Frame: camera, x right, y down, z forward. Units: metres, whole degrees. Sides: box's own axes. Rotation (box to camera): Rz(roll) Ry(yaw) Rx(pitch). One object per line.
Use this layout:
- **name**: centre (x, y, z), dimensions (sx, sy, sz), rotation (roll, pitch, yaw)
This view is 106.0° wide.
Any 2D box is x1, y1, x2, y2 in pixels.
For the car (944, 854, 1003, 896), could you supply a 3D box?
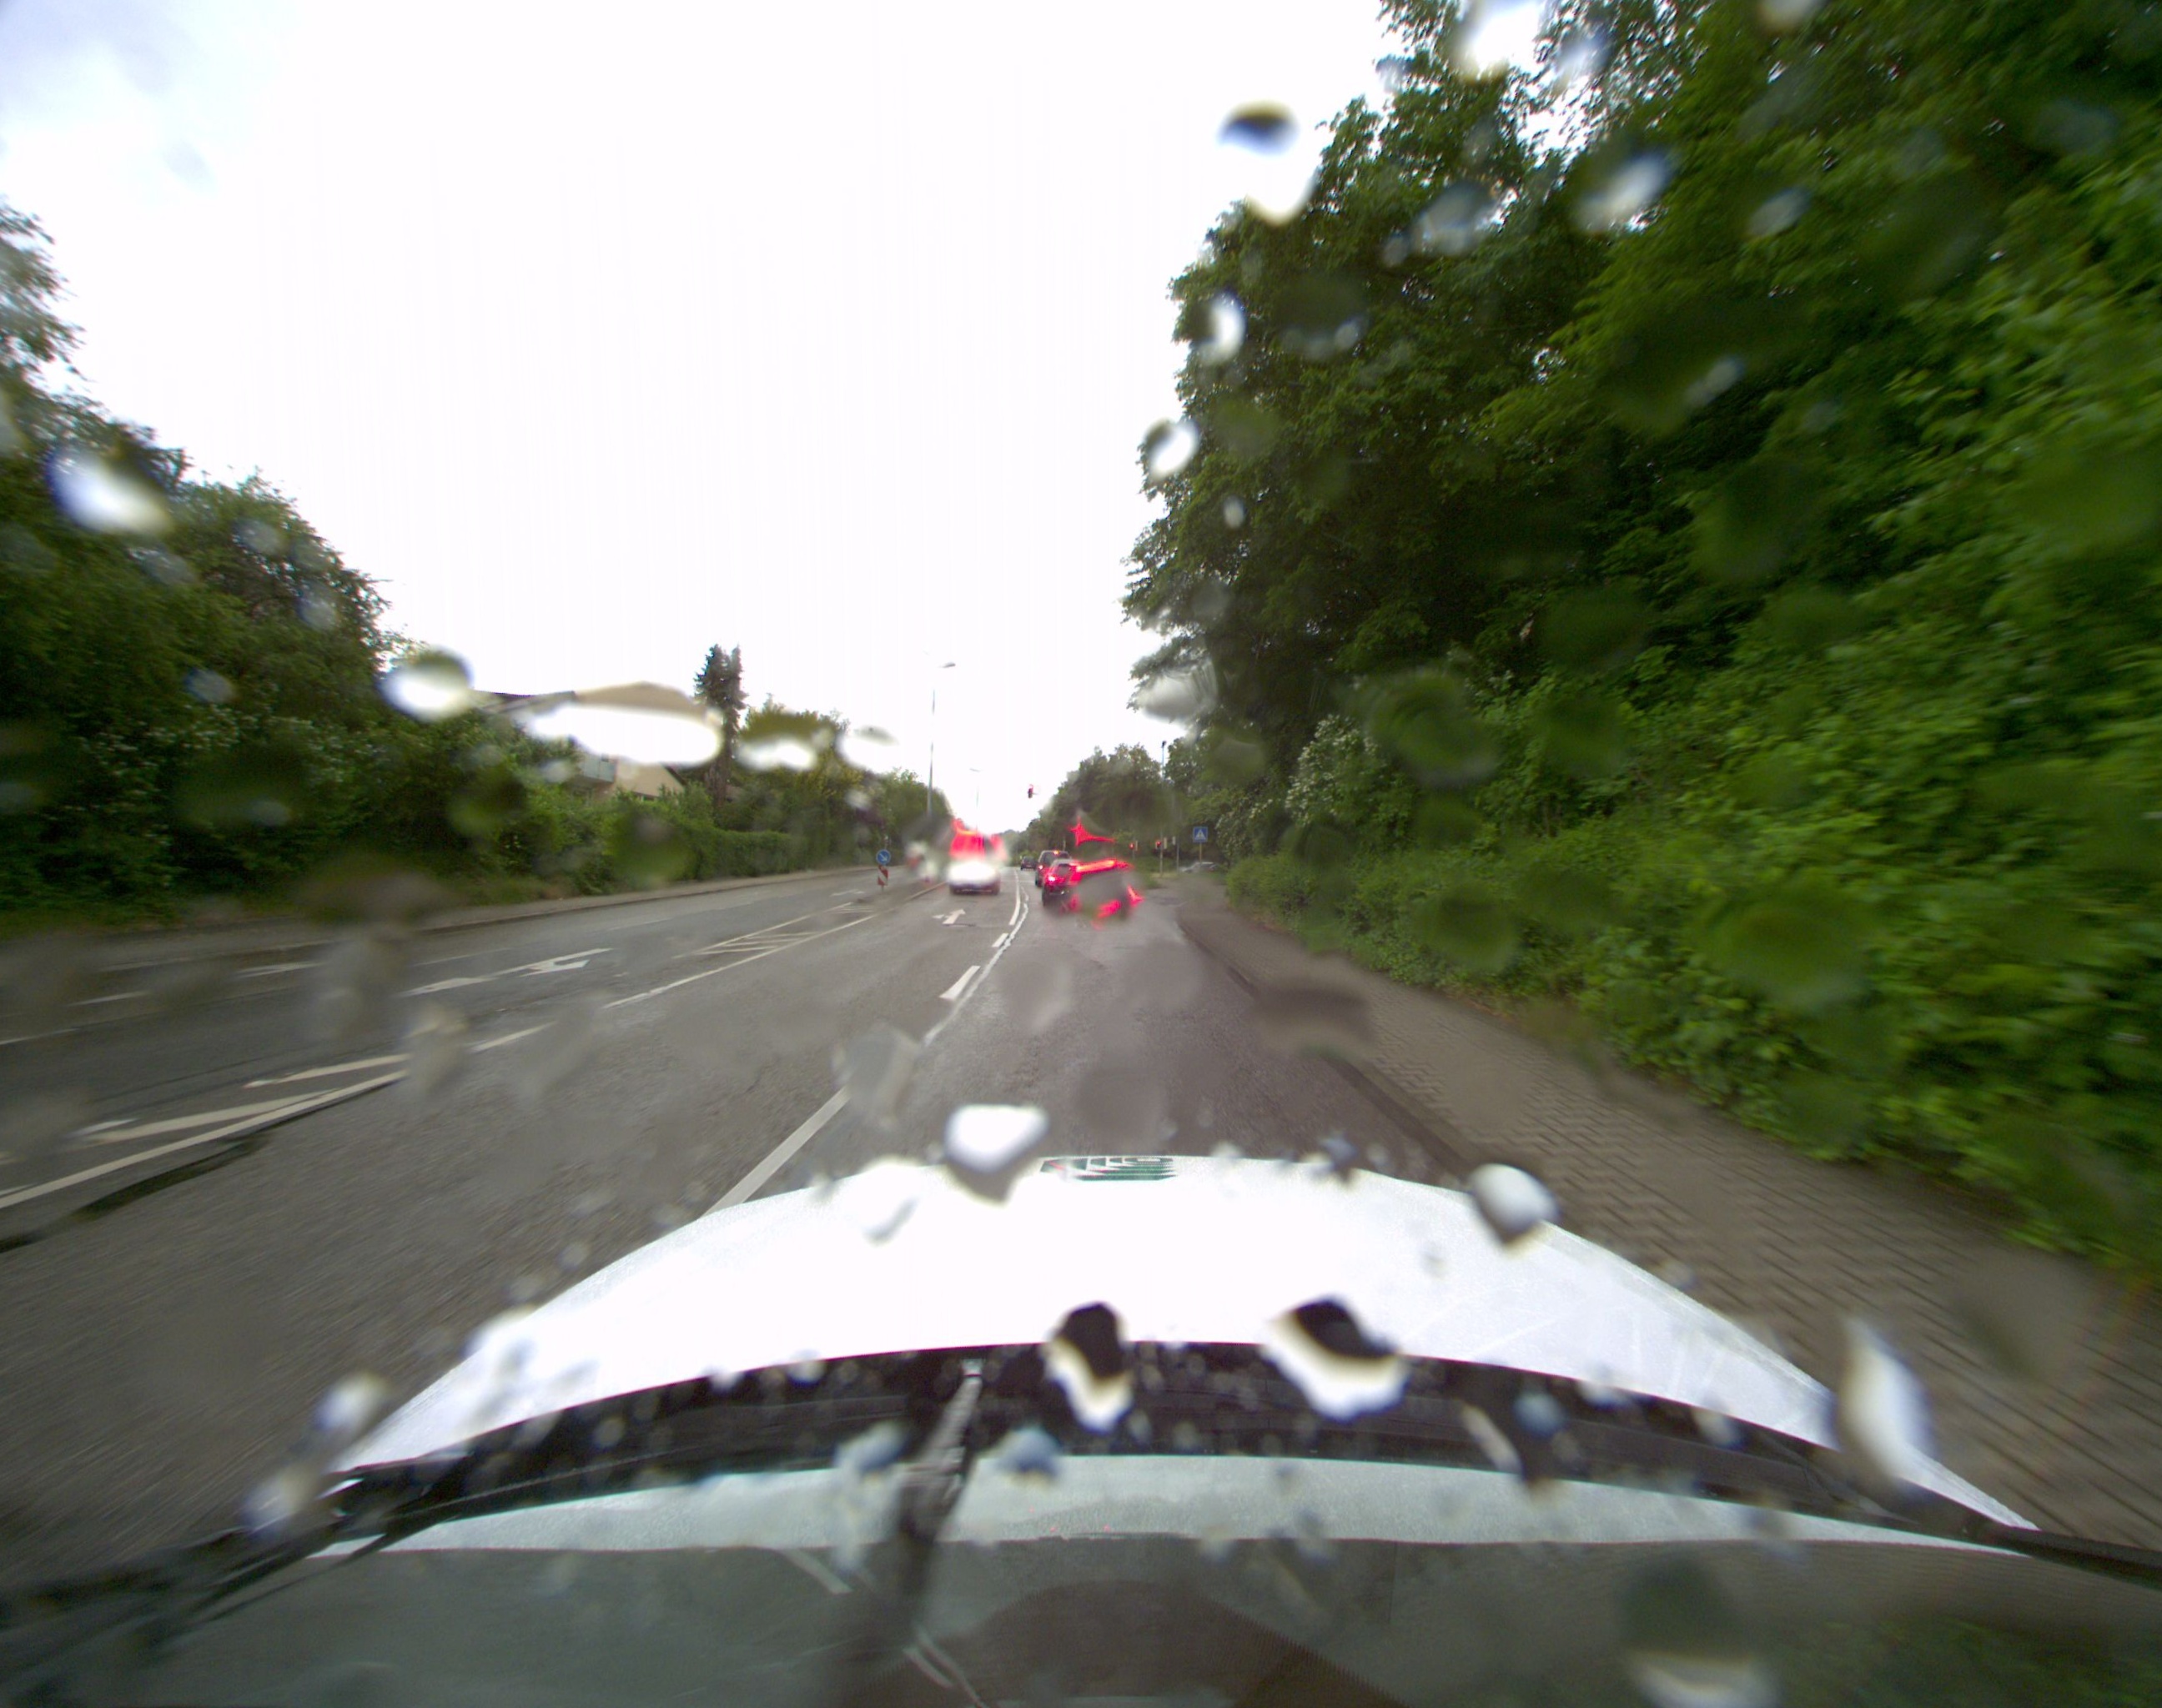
- **car**: centre (-4.181, 0.800, 32.320), dimensions (1.989, 1.527, 4.322), rotation (-1, 0, -3)

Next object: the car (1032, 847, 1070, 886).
- **car**: centre (-1.572, 0.640, 41.910), dimensions (1.814, 1.868, 3.947), rotation (2, -1, -3)

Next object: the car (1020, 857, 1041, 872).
- **car**: centre (-5.504, 1.142, 88.550), dimensions (1.991, 1.624, 3.943), rotation (-1, 0, -7)

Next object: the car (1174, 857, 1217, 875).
- **car**: centre (10.022, 1.011, 71.331), dimensions (3.493, 1.427, 1.702), rotation (-2, 1, -2)

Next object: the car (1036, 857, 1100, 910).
- **car**: centre (-0.400, 0.951, 27.167), dimensions (1.892, 1.551, 4.613), rotation (2, -1, 0)
